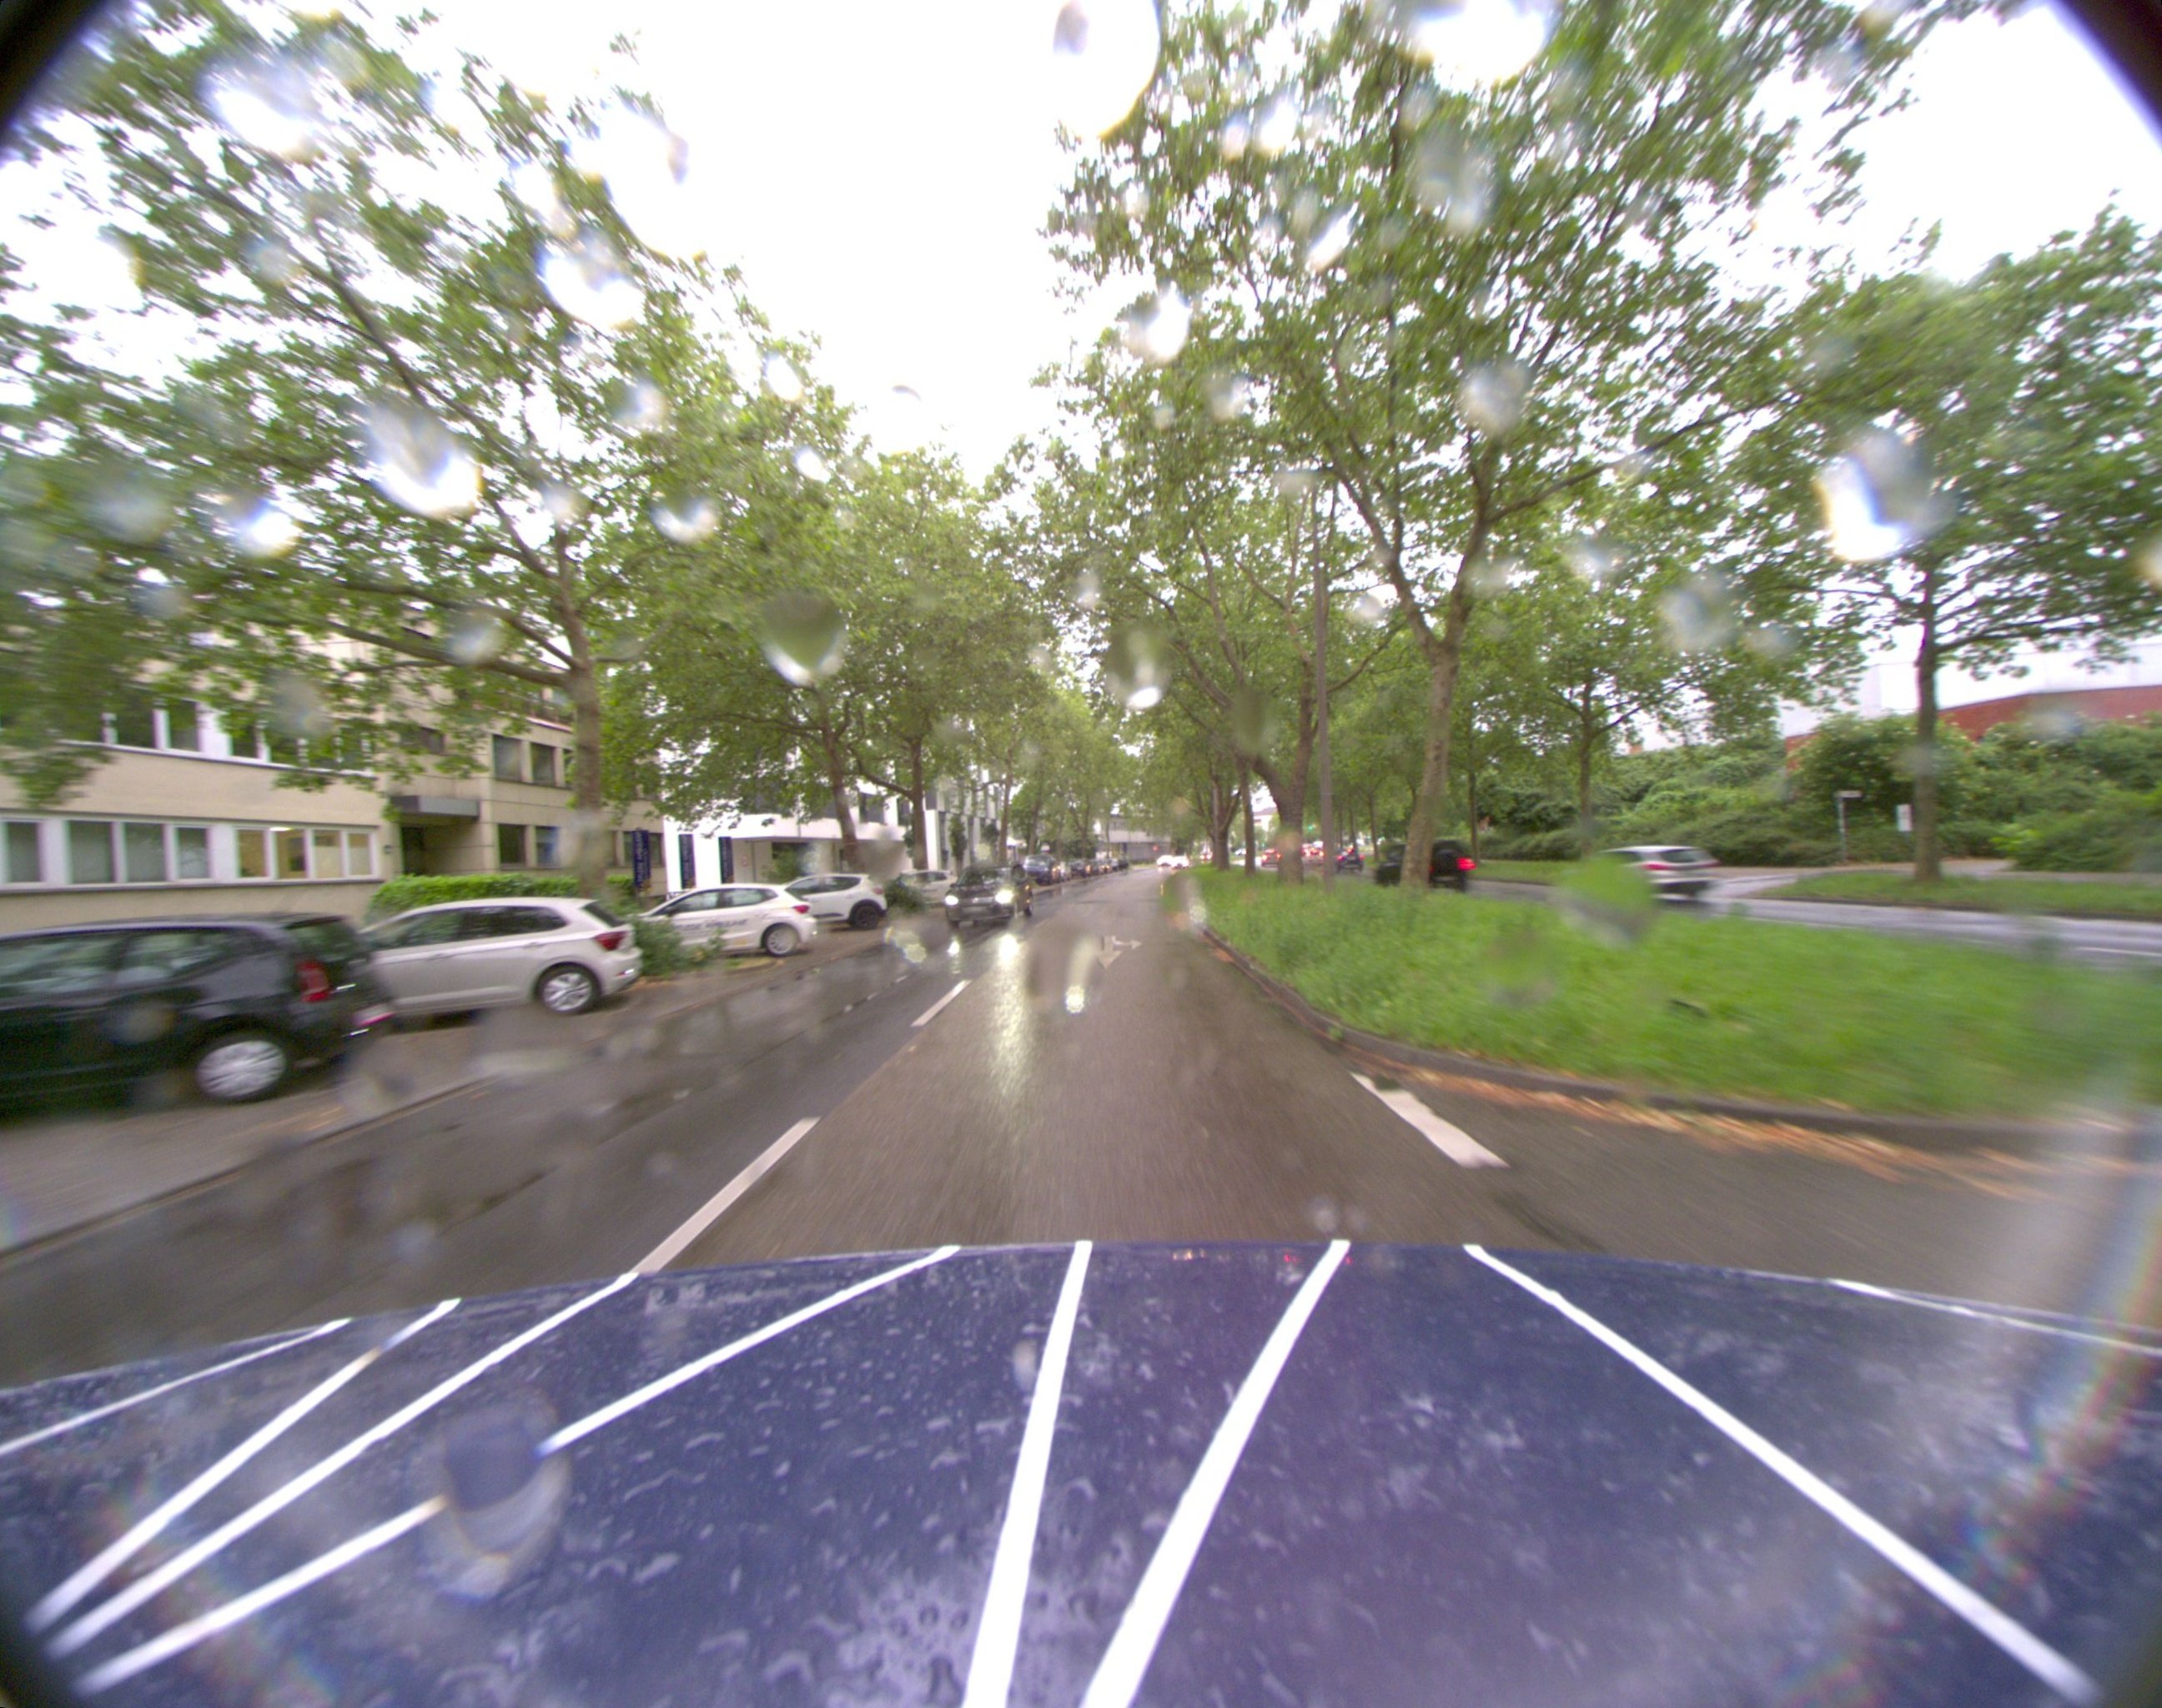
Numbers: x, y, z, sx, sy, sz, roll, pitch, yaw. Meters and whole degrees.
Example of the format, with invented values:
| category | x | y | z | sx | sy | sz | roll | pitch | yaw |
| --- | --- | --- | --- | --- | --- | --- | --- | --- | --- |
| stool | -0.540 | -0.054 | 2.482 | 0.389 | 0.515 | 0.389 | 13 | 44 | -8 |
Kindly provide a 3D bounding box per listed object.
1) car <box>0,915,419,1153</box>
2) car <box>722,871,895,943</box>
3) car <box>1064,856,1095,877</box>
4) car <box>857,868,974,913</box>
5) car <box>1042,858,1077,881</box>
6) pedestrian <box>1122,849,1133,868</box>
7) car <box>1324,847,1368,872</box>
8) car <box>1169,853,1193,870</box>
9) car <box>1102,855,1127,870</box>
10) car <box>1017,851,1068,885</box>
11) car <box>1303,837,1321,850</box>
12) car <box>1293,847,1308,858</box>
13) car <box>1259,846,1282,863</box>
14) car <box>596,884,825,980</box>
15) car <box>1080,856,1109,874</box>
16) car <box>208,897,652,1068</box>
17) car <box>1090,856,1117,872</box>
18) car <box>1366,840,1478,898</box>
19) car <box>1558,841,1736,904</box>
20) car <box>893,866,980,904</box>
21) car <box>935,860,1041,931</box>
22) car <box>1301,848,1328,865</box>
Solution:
| category | x | y | z | sx | sy | sz | roll | pitch | yaw |
| --- | --- | --- | --- | --- | --- | --- | --- | --- | --- |
| car | -7.928 | 1.375 | 5.979 | 3.697 | 1.408 | 1.745 | -3 | 0 | -26 |
| car | -7.155 | 1.314 | 19.996 | 4.043 | 1.530 | 1.745 | -3 | 0 | -27 |
| car | -0.092 | 0.993 | 63.257 | 1.746 | 1.557 | 4.374 | -3 | 0 | 10 |
| car | -6.349 | 1.355 | 29.196 | 4.043 | 1.420 | 1.745 | -3 | 0 | -25 |
| car | -1.586 | 1.140 | 56.810 | 1.746 | 1.460 | 4.309 | -3 | 0 | 10 |
| pedestrian | 5.125 | 0.506 | 83.817 | 0.900 | 2.002 | 0.832 | -3 | 1 | -24 |
| car | 18.368 | 0.328 | 52.870 | 1.747 | 1.582 | 4.210 | -3 | 0 | 4 |
| car | 11.239 | 0.835 | 85.058 | 1.996 | 1.620 | 4.526 | -3 | 0 | 15 |
| car | 3.691 | 0.896 | 82.598 | 1.745 | 1.420 | 4.864 | 0 | 1 | 15 |
| car | -2.487 | 0.889 | 50.663 | 2.125 | 2.016 | 5.531 | -3 | 0 | 10 |
| car | 42.564 | -1.948 | 139.870 | 2.032 | 2.213 | 5.443 | -3 | 0 | 27 |
| car | 30.105 | -0.226 | 104.017 | 1.745 | 1.451 | 3.847 | -3 | 0 | 19 |
| car | 19.189 | 0.012 | 77.123 | 1.747 | 1.582 | 4.332 | -3 | 0 | 7 |
| car | -6.967 | 1.407 | 14.658 | 3.696 | 1.408 | 1.746 | -3 | 0 | -22 |
| car | 1.271 | 0.968 | 70.174 | 1.746 | 1.467 | 4.086 | -3 | 0 | 13 |
| car | -7.433 | 1.380 | 9.230 | 3.697 | 1.408 | 1.772 | -3 | 0 | -26 |
| car | 2.281 | 0.972 | 76.189 | 1.746 | 1.420 | 5.108 | -3 | 0 | 11 |
| car | 12.059 | 0.484 | 27.301 | 1.747 | 1.831 | 5.120 | -3 | 0 | 1 |
| car | 15.409 | 0.458 | 21.031 | 1.748 | 1.467 | 4.235 | -3 | 0 | 0 |
| car | -6.368 | 1.363 | 33.690 | 3.647 | 1.495 | 1.748 | -2 | -1 | -9 |
| car | -2.482 | 1.064 | 21.826 | 1.998 | 1.585 | 5.590 | -4 | 0 | 3 |
| car | 22.073 | 0.239 | 71.933 | 1.747 | 1.467 | 4.084 | -3 | 0 | 7 |
